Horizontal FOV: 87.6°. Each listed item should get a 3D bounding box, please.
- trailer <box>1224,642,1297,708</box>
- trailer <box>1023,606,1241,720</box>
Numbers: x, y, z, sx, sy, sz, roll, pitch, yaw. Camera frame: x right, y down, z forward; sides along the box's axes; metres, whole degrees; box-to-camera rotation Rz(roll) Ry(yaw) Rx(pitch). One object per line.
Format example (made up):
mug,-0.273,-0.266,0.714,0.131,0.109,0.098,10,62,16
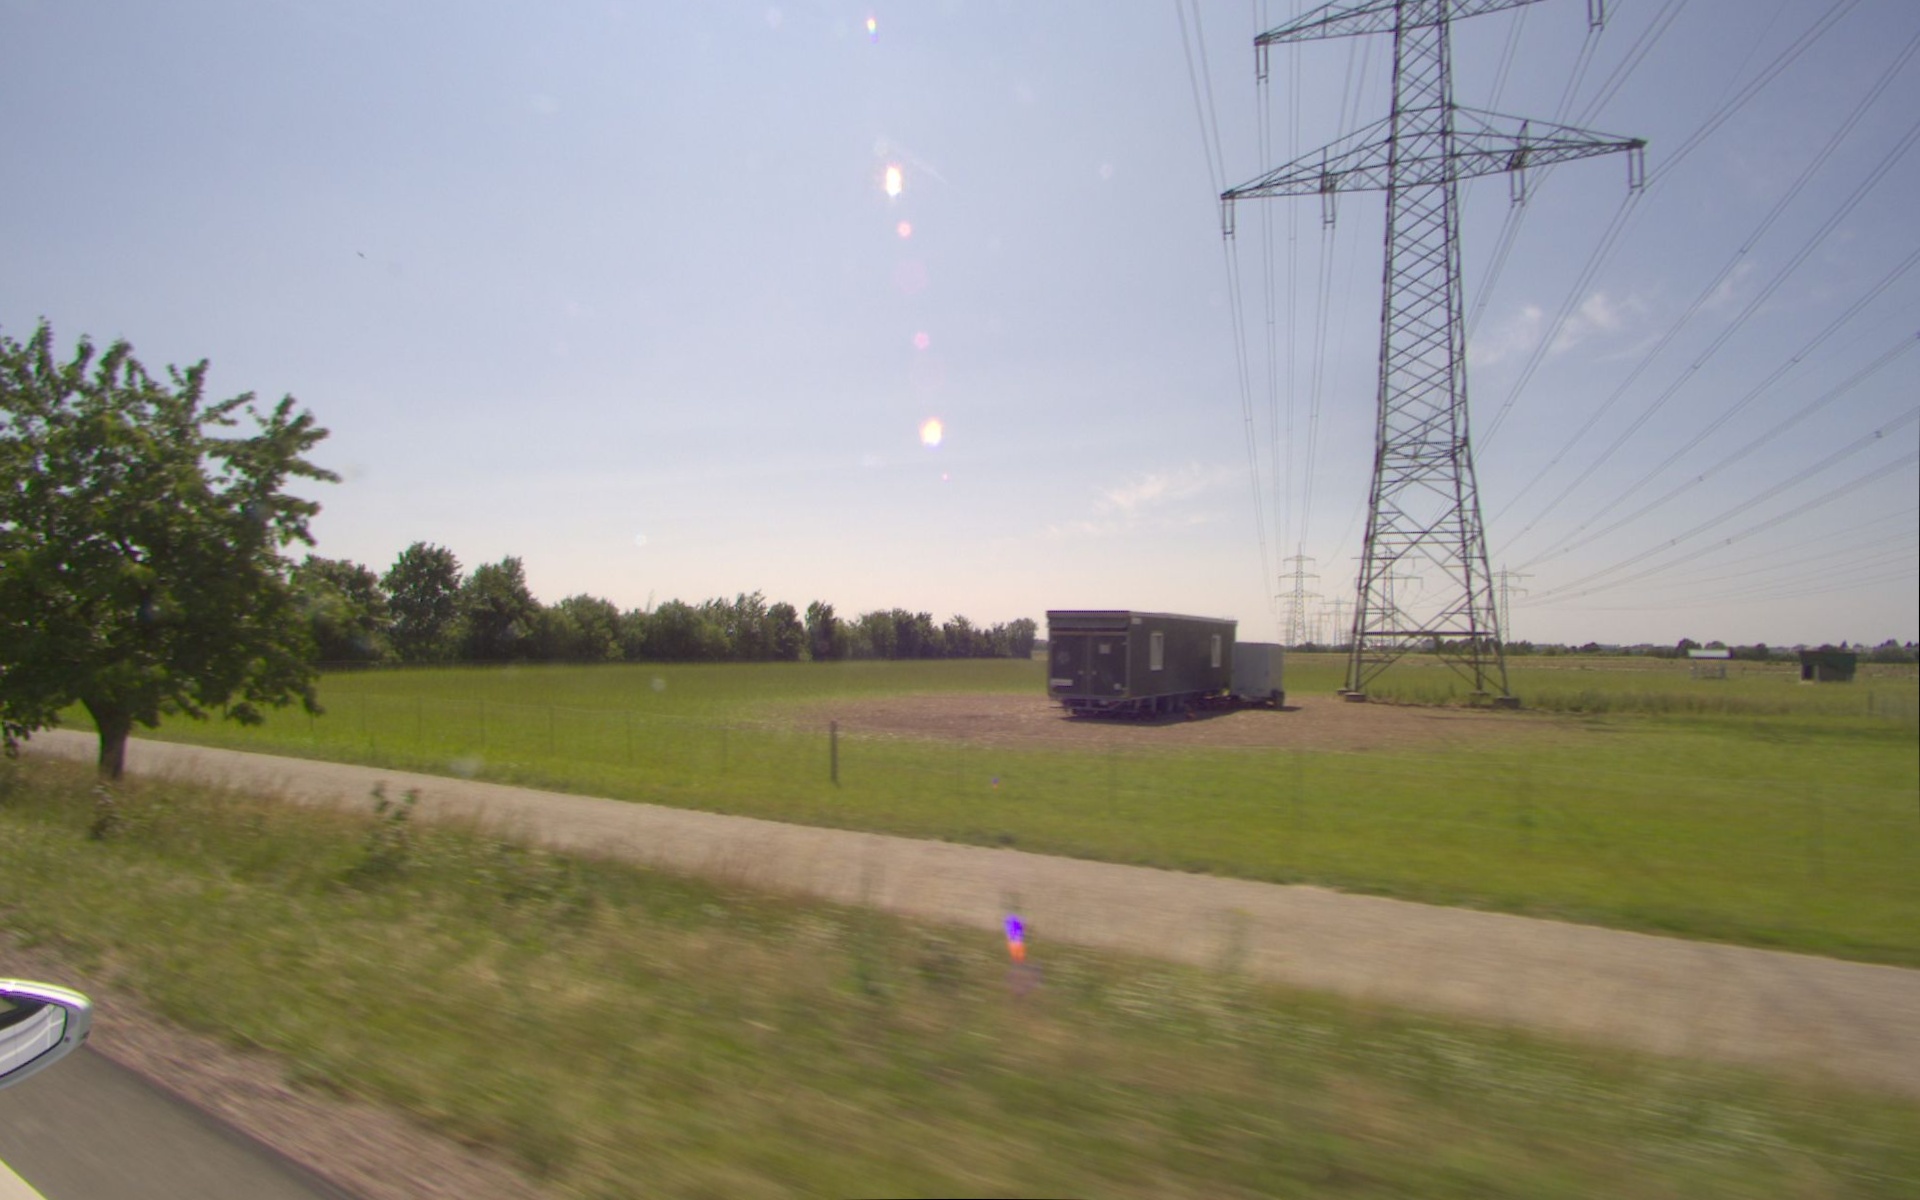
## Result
trailer,12.016,2.941,39.907,1.970,2.473,3.985,0,-3,29
trailer,6.869,2.263,37.231,3.750,3.516,12.398,-1,-3,31
